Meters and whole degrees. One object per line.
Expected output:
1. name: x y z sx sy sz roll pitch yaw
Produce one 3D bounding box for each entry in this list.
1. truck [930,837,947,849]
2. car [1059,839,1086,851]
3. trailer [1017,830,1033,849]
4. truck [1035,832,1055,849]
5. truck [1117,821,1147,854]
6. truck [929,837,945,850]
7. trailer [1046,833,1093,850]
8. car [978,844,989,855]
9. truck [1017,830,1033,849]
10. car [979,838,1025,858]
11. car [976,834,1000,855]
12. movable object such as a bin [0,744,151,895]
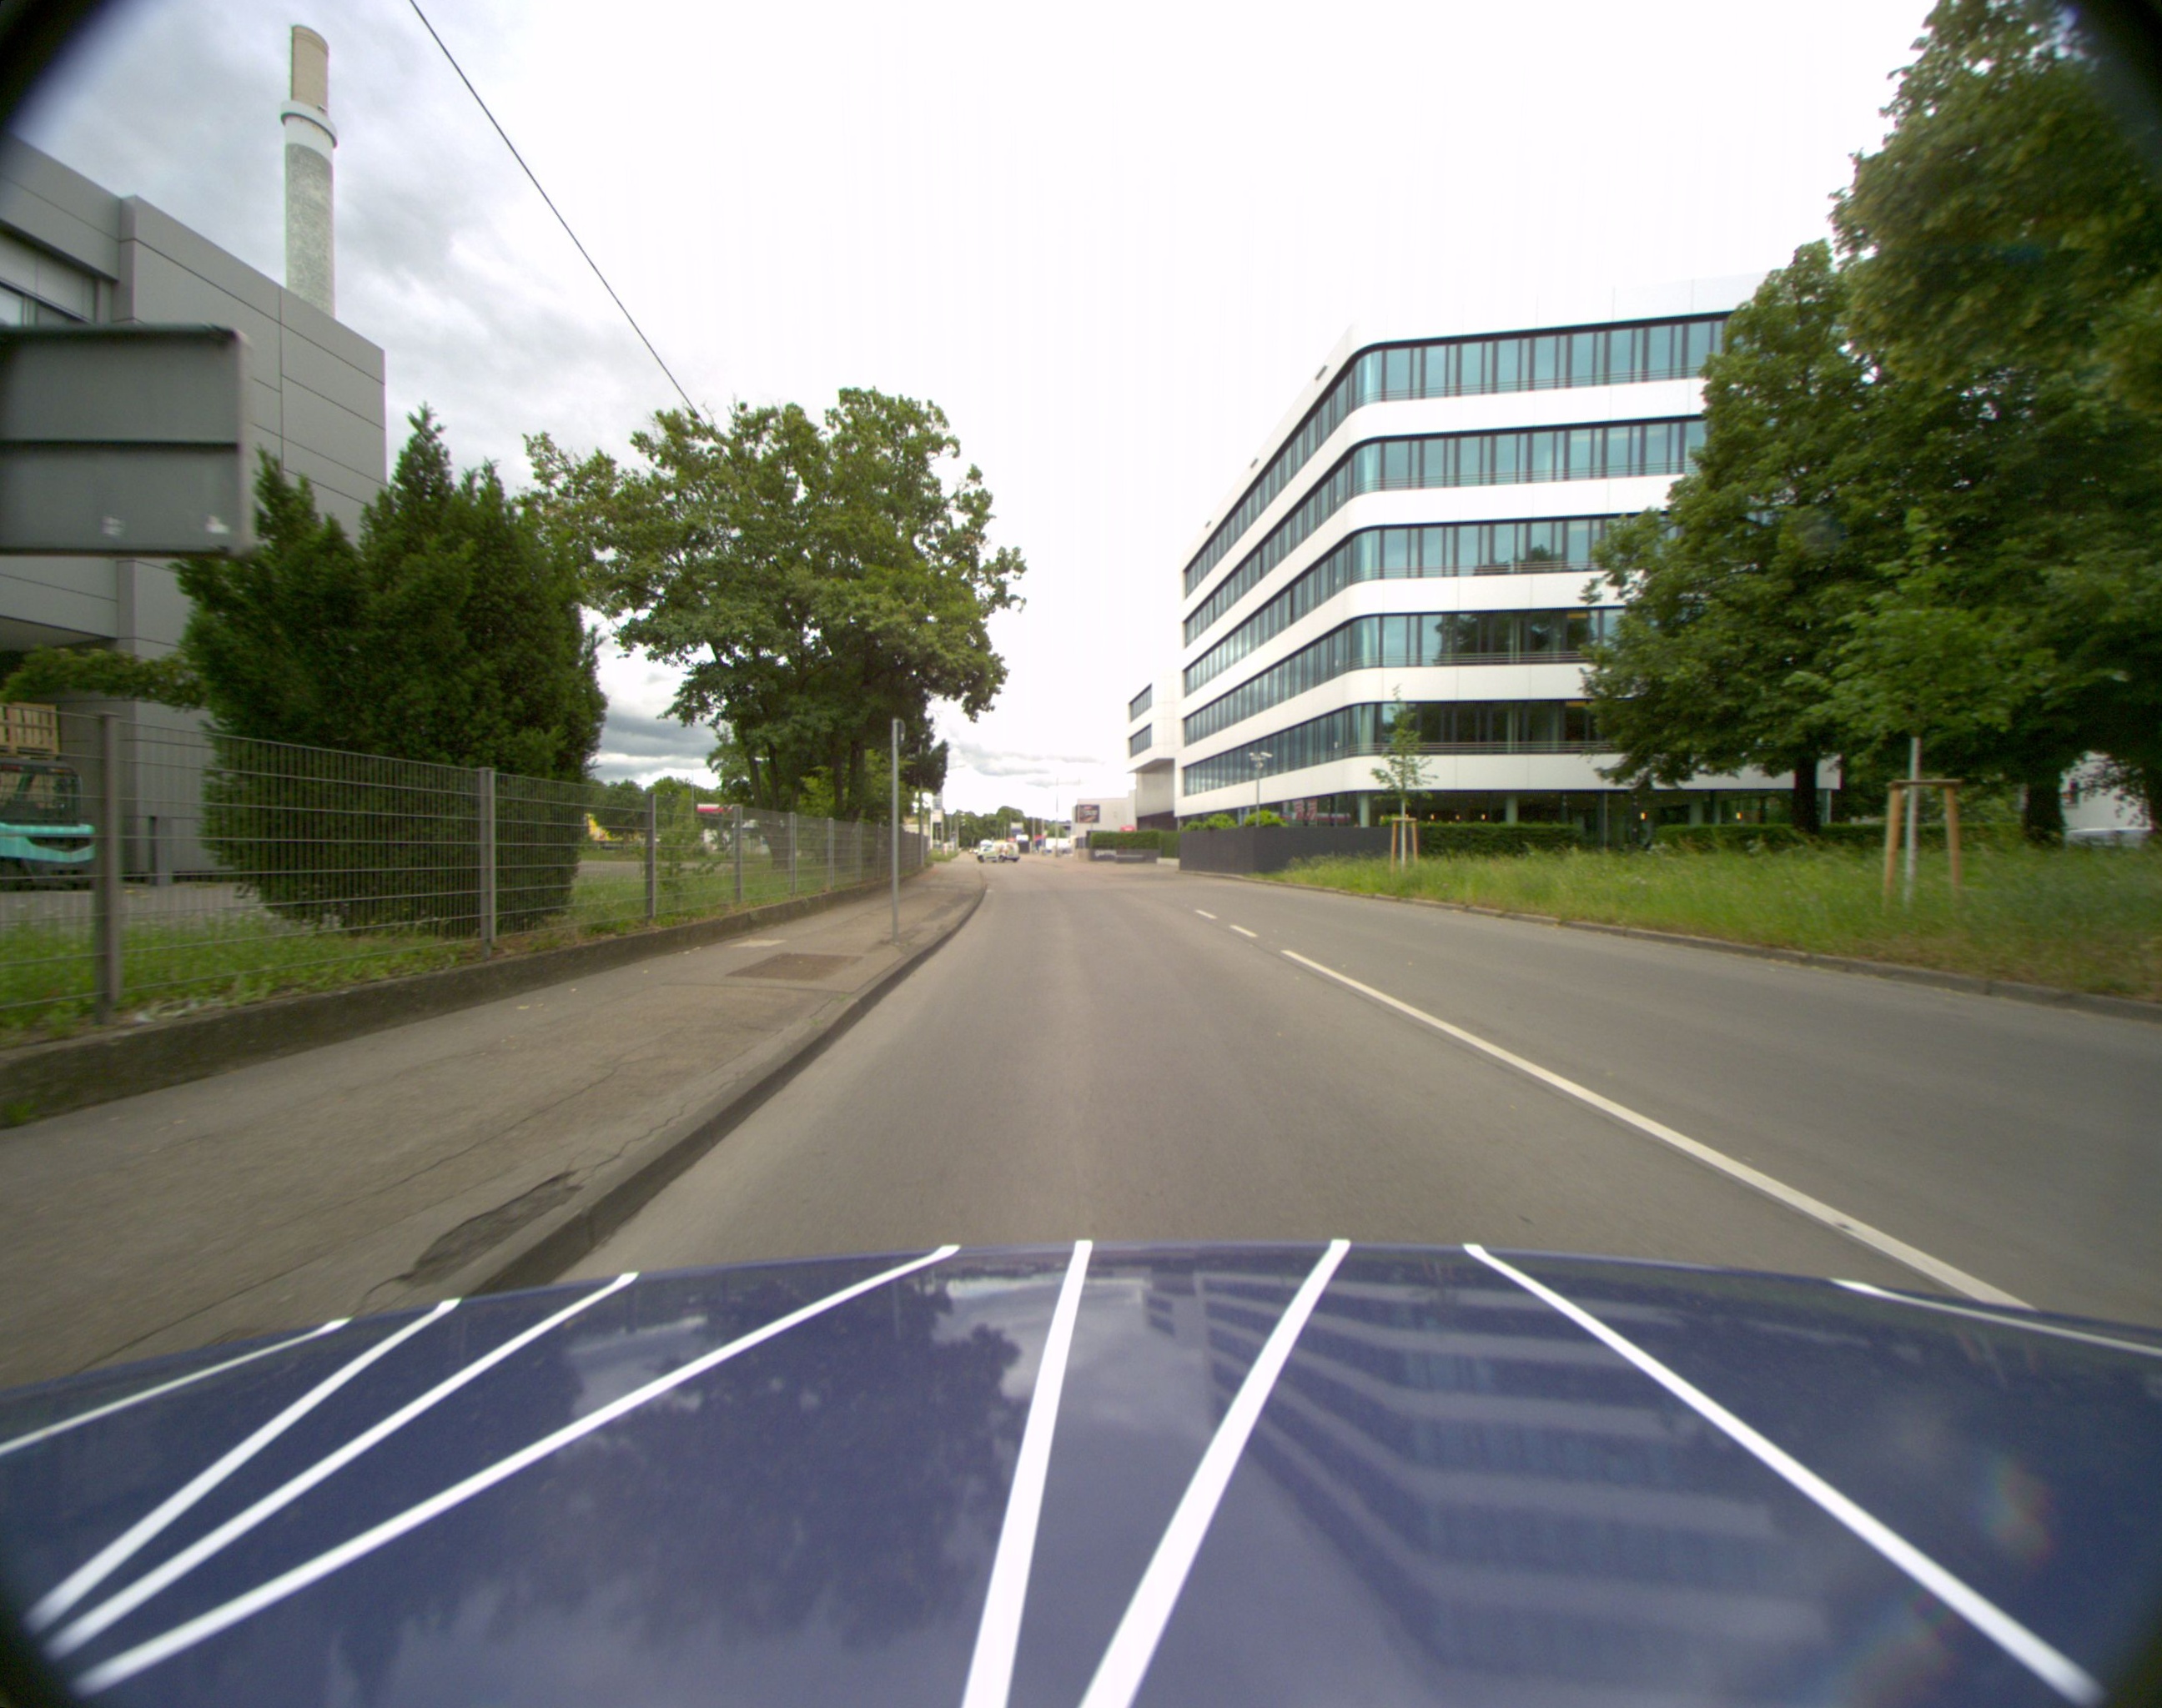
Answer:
1. truck: -44.138 -3.350 235.416 2.834 3.690 9.083 0 1 -26
2. car: -1.843 -1.959 167.298 5.425 2.715 2.243 -1 0 10
3. trailer: -13.136 -3.220 176.488 3.369 4.136 13.840 2 0 -5
4. truck: -9.465 -3.528 200.452 4.882 4.109 3.045 2 1 -8
5. truck: 6.395 -2.009 94.752 2.746 4.007 7.099 0 0 12
6. truck: -41.404 -2.945 218.457 2.878 3.609 6.742 1 0 -23
7. trailer: -2.981 -3.292 200.039 12.028 4.109 3.051 2 1 10
8. car: -19.031 -0.916 148.601 1.714 2.002 3.885 0 0 -13
9. truck: -12.561 -3.153 169.517 3.369 4.136 5.624 2 1 -5
10. car: -7.224 -0.560 69.345 4.193 1.754 1.817 0 2 40
11. car: -16.233 -1.616 132.269 3.342 3.586 8.660 0 0 -12
12. movable object such as a bin: -18.329 -0.574 12.454 3.995 2.292 1.952 1 1 4
